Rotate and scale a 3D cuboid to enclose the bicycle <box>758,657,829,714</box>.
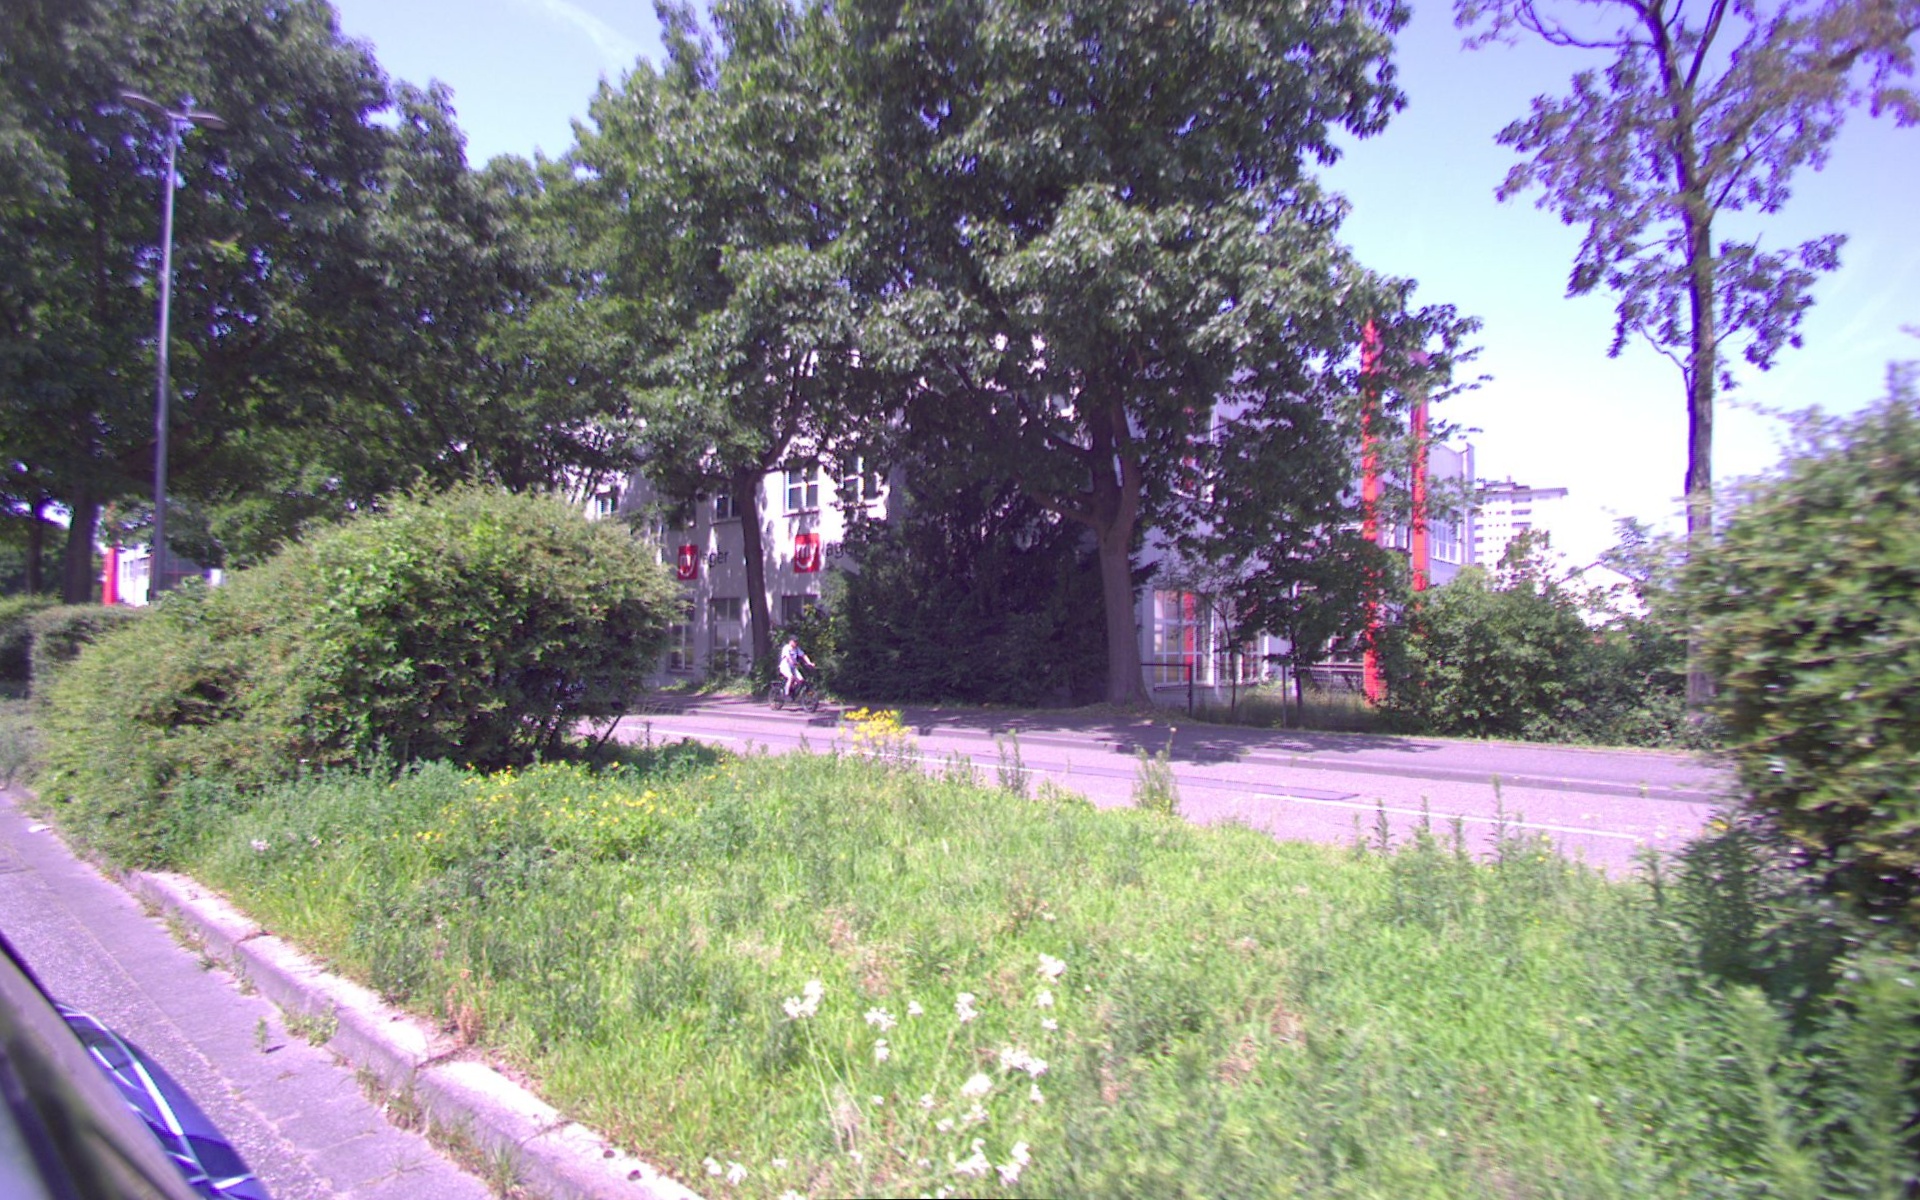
[{"bbox_3d":[-3.649,1.848,22.127,1.761,1.128,0.516,-1,-2,41],"label":"bicycle"}]

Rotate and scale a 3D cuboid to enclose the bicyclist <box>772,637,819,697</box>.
[{"bbox_3d":[-3.583,1.450,22.086,0.812,1.262,0.637,-1,-2,41],"label":"bicyclist"}]
